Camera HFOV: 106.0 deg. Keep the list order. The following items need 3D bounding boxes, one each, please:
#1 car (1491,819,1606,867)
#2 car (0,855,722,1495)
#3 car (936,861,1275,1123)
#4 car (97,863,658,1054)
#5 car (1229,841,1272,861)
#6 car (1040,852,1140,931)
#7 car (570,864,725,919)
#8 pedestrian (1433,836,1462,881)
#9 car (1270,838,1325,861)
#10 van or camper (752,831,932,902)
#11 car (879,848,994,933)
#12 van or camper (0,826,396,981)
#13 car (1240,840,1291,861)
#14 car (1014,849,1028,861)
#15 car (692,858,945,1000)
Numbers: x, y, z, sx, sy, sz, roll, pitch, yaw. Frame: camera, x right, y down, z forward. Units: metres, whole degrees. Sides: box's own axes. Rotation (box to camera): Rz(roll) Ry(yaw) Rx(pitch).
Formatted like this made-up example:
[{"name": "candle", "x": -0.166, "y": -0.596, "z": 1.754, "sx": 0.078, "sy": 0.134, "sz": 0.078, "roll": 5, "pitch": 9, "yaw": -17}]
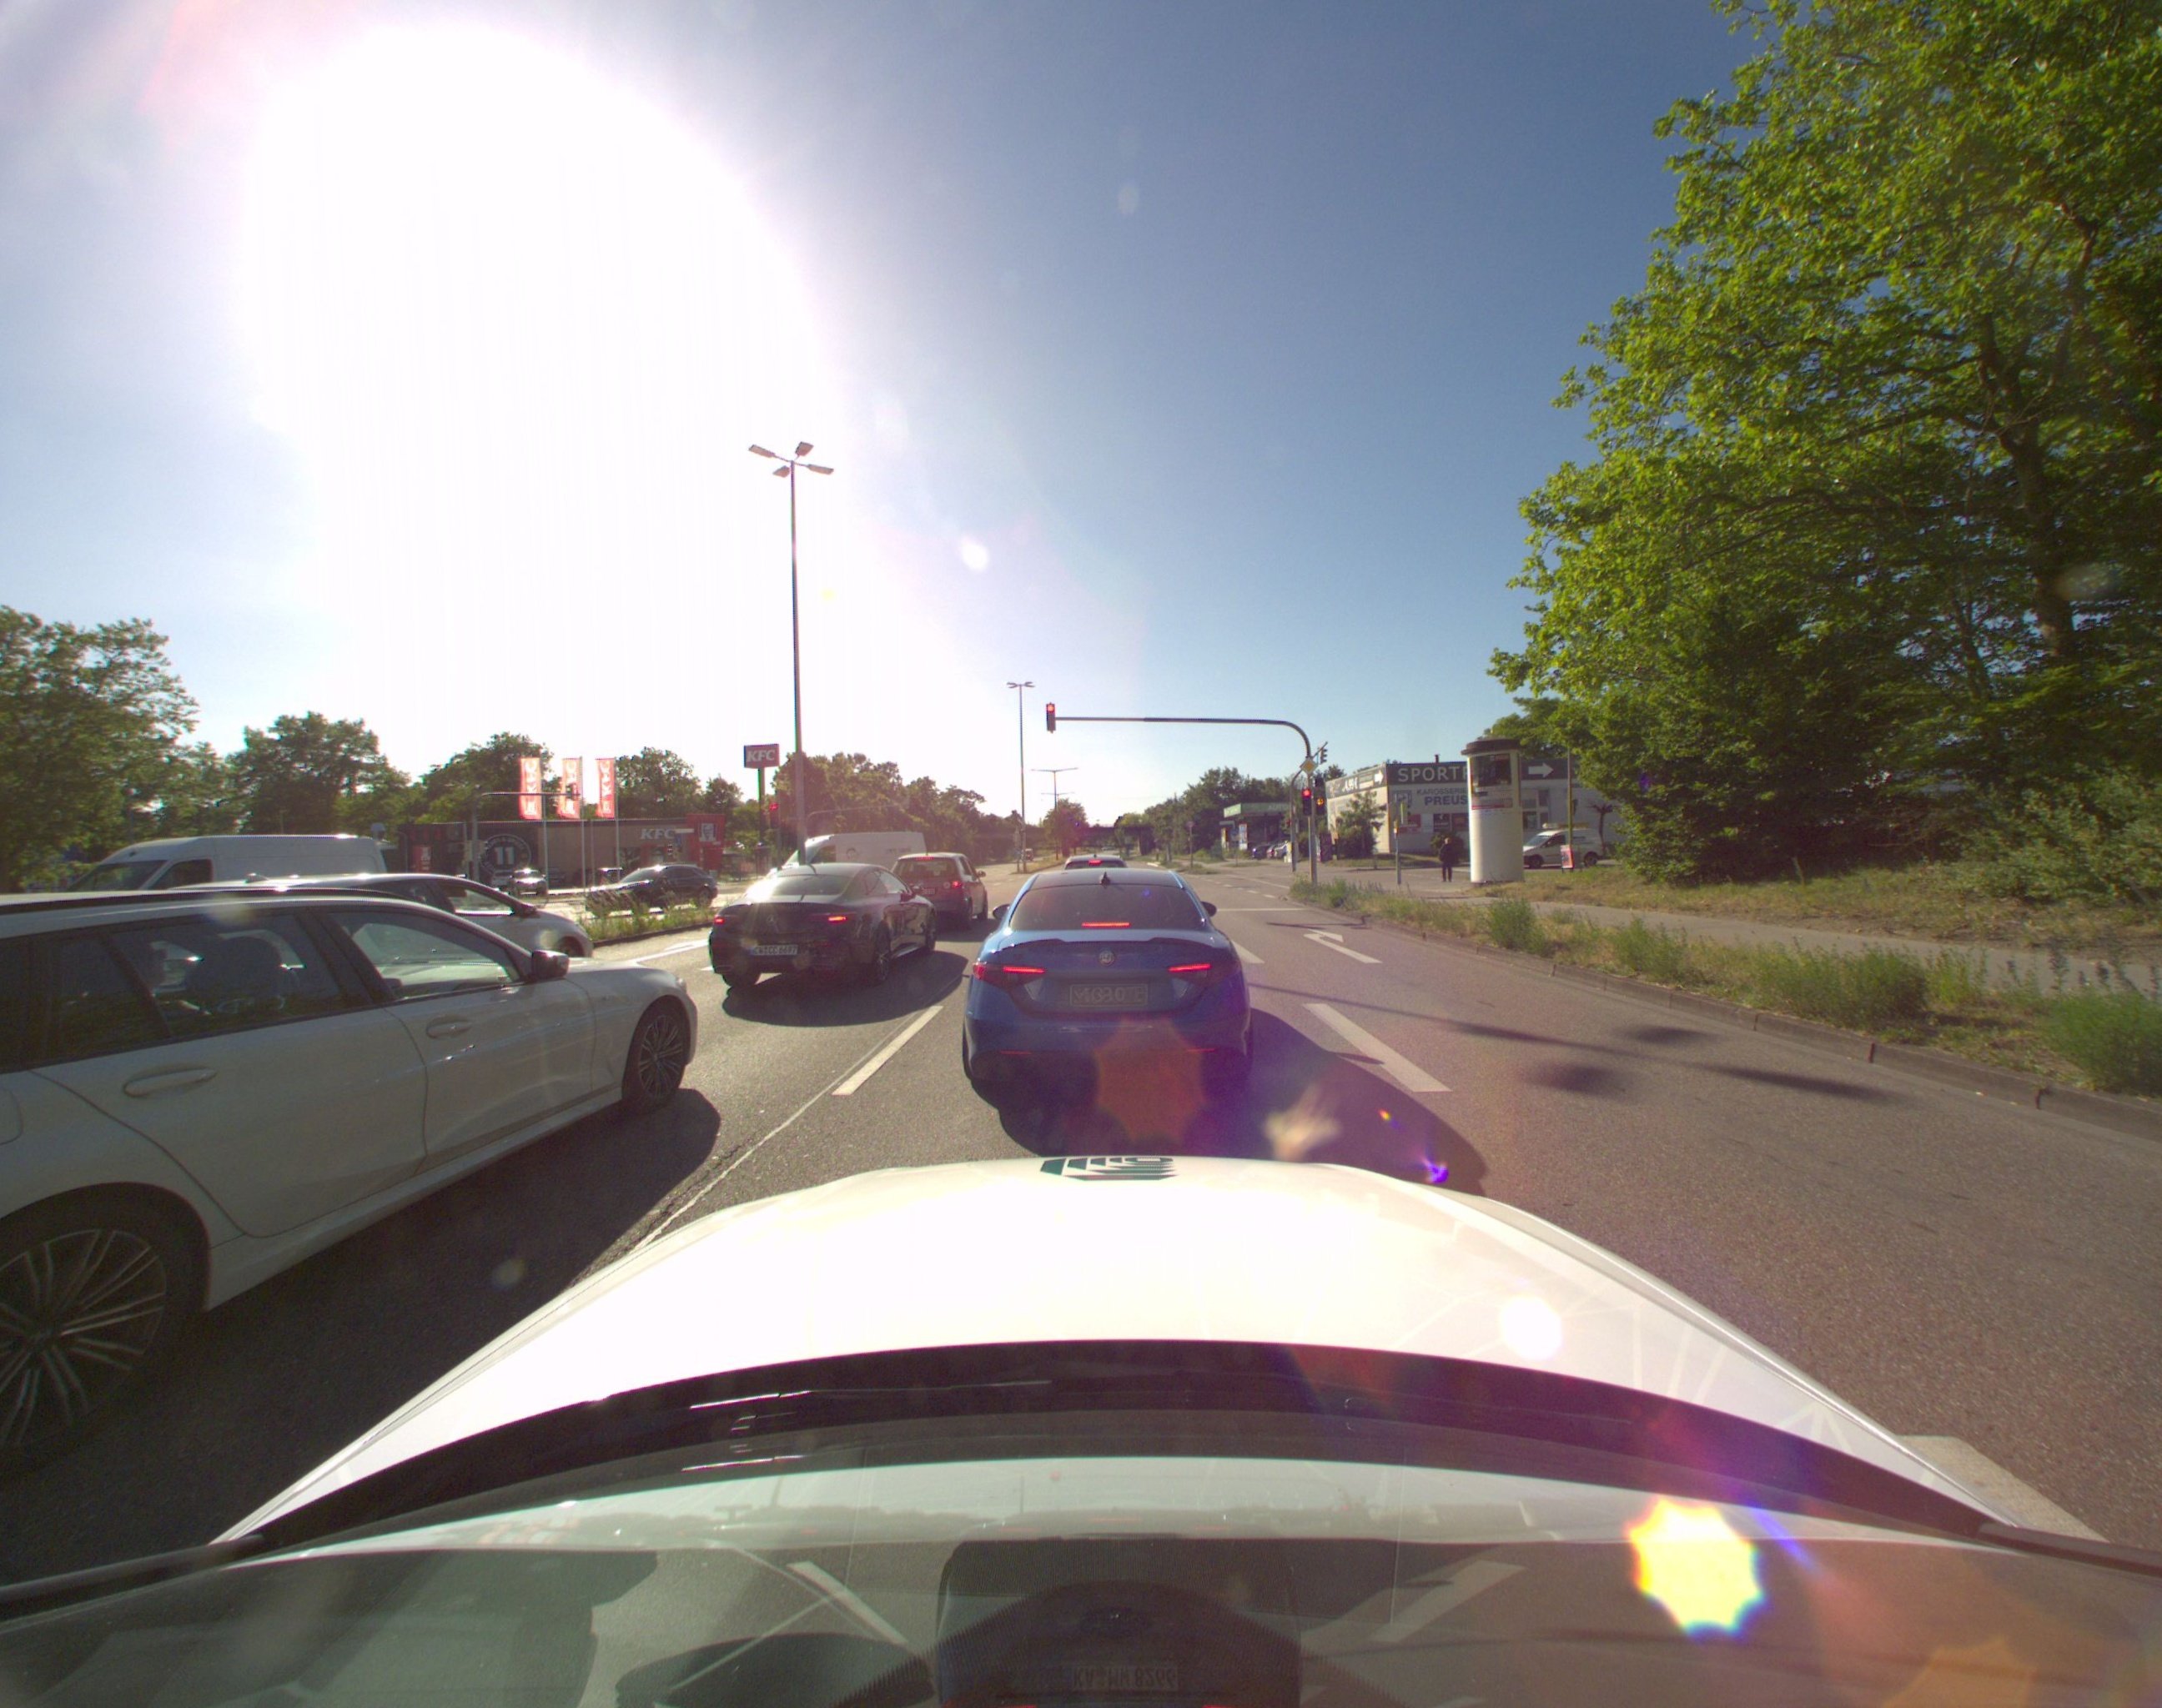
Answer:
[{"name": "car", "x": 22.597, "y": -0.521, "z": 39.470, "sx": 4.393, "sy": 2.145, "sz": 1.999, "roll": -1, "pitch": 0, "yaw": -2}, {"name": "car", "x": -3.433, "y": 0.793, "z": 3.369, "sx": 1.762, "sy": 1.509, "sz": 4.463, "roll": -1, "pitch": 0, "yaw": 2}, {"name": "car", "x": 0.199, "y": 0.784, "z": 6.494, "sx": 1.859, "sy": 1.385, "sz": 3.933, "roll": -1, "pitch": 0, "yaw": 2}, {"name": "car", "x": -6.762, "y": 0.863, "z": 8.674, "sx": 1.848, "sy": 1.429, "sz": 4.411, "roll": -1, "pitch": 0, "yaw": 6}, {"name": "car", "x": 15.386, "y": -0.255, "z": 73.975, "sx": 3.489, "sy": 1.706, "sz": 1.687, "roll": -1, "pitch": 0, "yaw": -14}, {"name": "car", "x": 0.230, "y": 0.698, "z": 17.204, "sx": 1.859, "sy": 1.450, "sz": 3.933, "roll": -1, "pitch": 0, "yaw": 2}, {"name": "car", "x": -15.063, "y": 1.245, "z": 28.624, "sx": 1.977, "sy": 1.653, "sz": 4.637, "roll": -1, "pitch": 0, "yaw": 20}, {"name": "pedestrian", "x": 14.227, "y": 0.181, "z": 31.640, "sx": 0.818, "sy": 1.721, "sz": 0.856, "roll": -2, "pitch": 0, "yaw": 9}, {"name": "car", "x": 17.513, "y": -0.360, "z": 65.872, "sx": 3.993, "sy": 1.706, "sz": 1.687, "roll": -1, "pitch": 0, "yaw": -15}, {"name": "van or camper", "x": -9.421, "y": 0.399, "z": 32.832, "sx": 2.157, "sy": 2.572, "sz": 6.796, "roll": -1, "pitch": 0, "yaw": 42}, {"name": "car", "x": -2.998, "y": 0.695, "z": 17.724, "sx": 1.642, "sy": 1.598, "sz": 3.933, "roll": -1, "pitch": 0, "yaw": 2}, {"name": "van or camper", "x": -18.114, "y": 0.858, "z": 17.049, "sx": 1.983, "sy": 2.651, "sz": 5.968, "roll": -1, "pitch": 0, "yaw": 7}, {"name": "car", "x": 16.043, "y": -0.291, "z": 70.766, "sx": 3.997, "sy": 1.706, "sz": 1.685, "roll": -1, "pitch": 0, "yaw": -18}, {"name": "car", "x": -12.398, "y": 0.128, "z": 169.186, "sx": 2.423, "sy": 2.427, "sz": 5.831, "roll": -2, "pitch": 0, "yaw": 0}, {"name": "car", "x": -3.145, "y": 0.809, "z": 10.841, "sx": 1.762, "sy": 1.414, "sz": 4.463, "roll": -1, "pitch": 0, "yaw": 2}]
